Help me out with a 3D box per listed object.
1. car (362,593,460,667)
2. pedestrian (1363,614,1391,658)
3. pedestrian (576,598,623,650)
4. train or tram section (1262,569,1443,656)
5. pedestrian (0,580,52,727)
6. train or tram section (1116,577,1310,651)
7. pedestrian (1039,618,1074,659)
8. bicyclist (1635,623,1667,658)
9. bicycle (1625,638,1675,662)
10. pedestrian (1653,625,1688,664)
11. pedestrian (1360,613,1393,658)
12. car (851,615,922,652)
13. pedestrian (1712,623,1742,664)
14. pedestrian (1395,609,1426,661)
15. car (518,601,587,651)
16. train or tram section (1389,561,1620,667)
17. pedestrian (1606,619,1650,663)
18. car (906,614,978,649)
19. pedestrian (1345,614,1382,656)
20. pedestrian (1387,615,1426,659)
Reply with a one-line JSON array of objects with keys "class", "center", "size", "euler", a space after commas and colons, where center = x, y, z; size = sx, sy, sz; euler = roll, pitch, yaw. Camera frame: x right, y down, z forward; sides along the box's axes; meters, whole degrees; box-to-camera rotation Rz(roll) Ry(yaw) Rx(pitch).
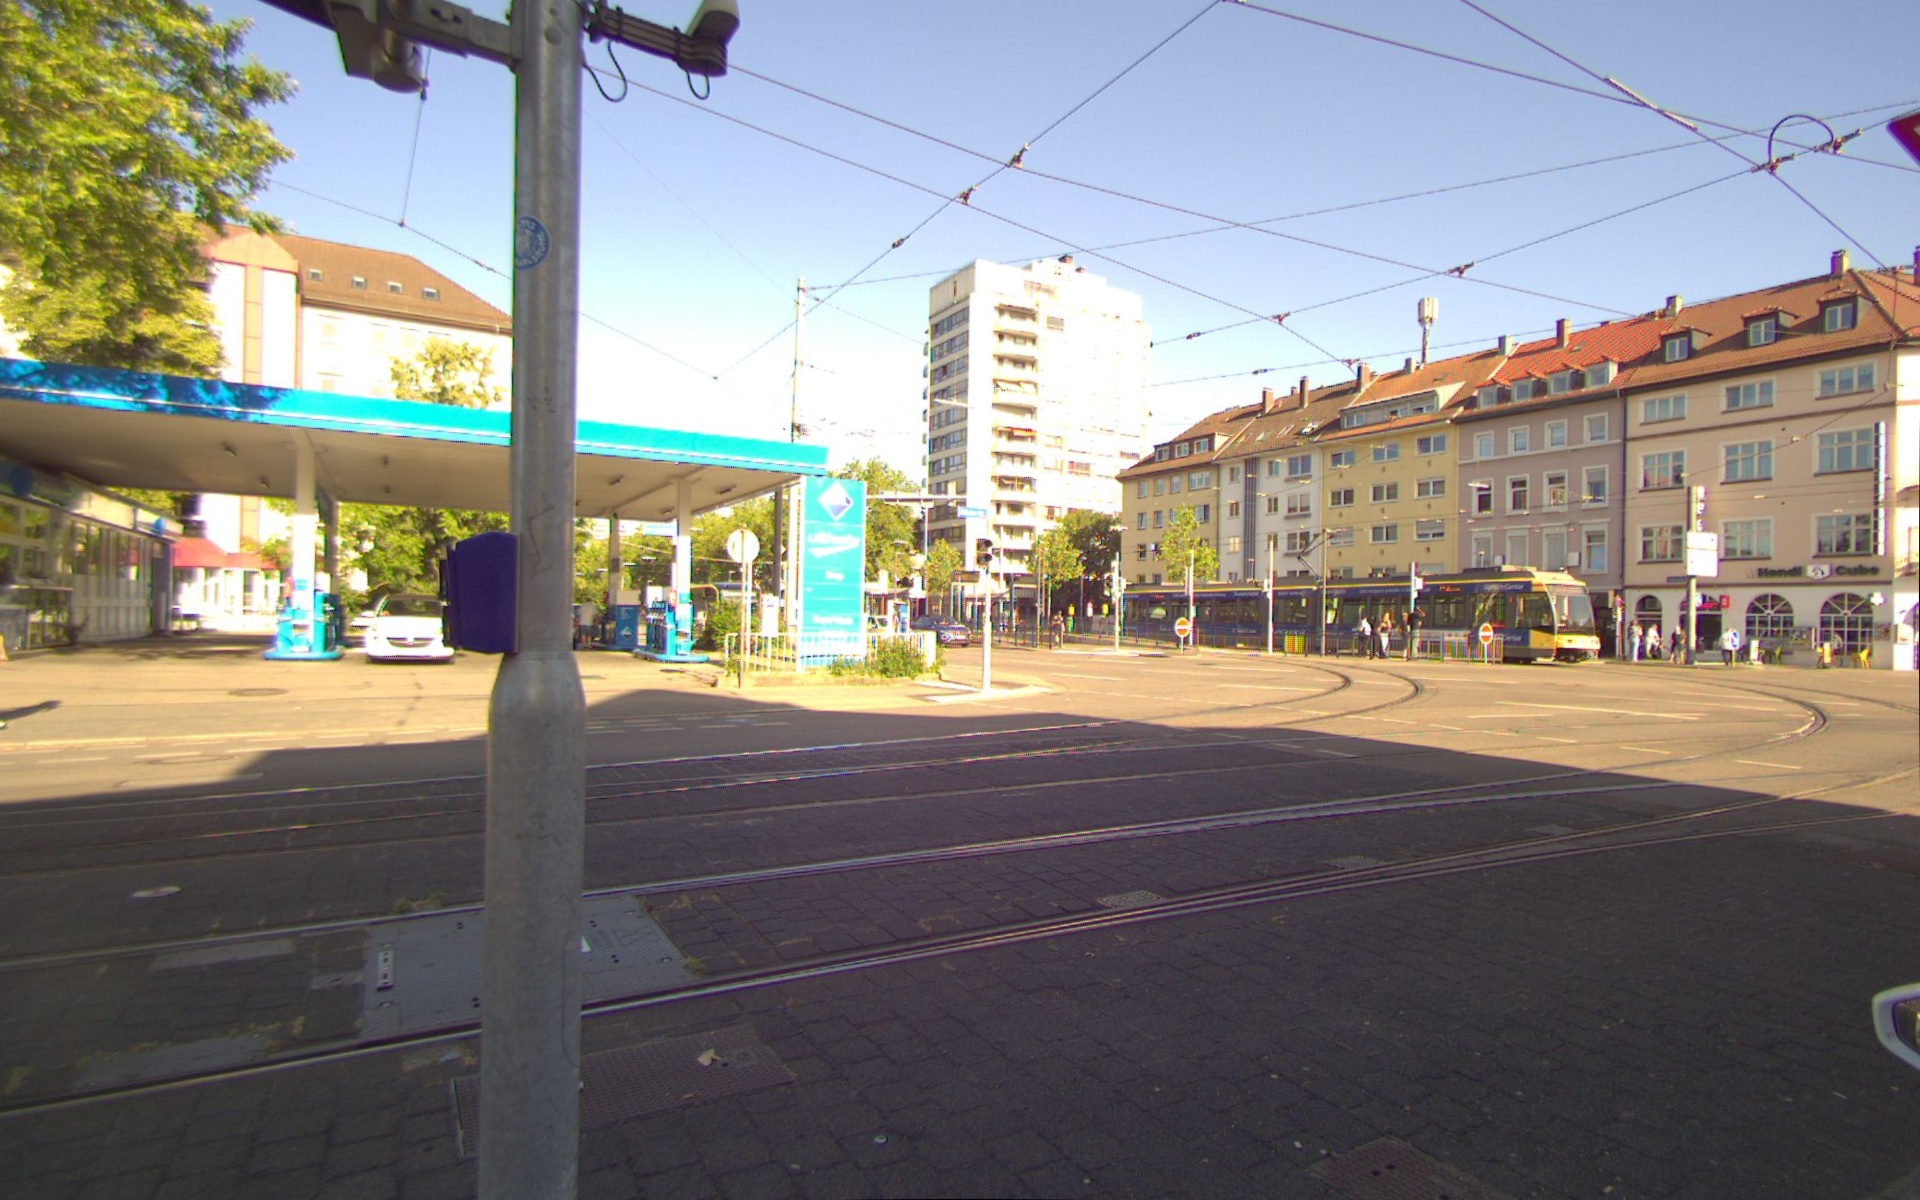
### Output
[{"class": "car", "center": [-12.322, 0.644, 22.512], "size": [1.760, 1.483, 3.968], "euler": [1, -1, -30]}, {"class": "pedestrian", "center": [15.632, 1.339, 37.675], "size": [0.923, 1.619, 1.009], "euler": [1, -1, 20]}, {"class": "pedestrian", "center": [-11.605, 0.760, 32.341], "size": [1.140, 1.647, 0.813], "euler": [1, -1, 7]}, {"class": "train or tram section", "center": [17.457, 0.591, 45.472], "size": [2.781, 3.546, 8.424], "euler": [1, -1, -20]}, {"class": "pedestrian", "center": [-11.036, 0.591, 11.240], "size": [0.701, 1.641, 1.107], "euler": [1, -1, 3]}, {"class": "train or tram section", "center": [13.248, 0.746, 54.392], "size": [2.746, 3.546, 11.936], "euler": [1, -1, -29]}, {"class": "pedestrian", "center": [4.422, 1.750, 45.958], "size": [1.156, 1.870, 1.098], "euler": [2, -1, -28]}, {"class": "bicyclist", "center": [35.950, 2.081, 52.289], "size": [0.740, 1.798, 1.159], "euler": [1, -1, -31]}, {"class": "bicycle", "center": [35.910, 2.602, 52.294], "size": [0.623, 1.197, 2.081], "euler": [1, -1, -29]}, {"class": "pedestrian", "center": [34.079, 2.126, 48.209], "size": [0.926, 1.798, 1.006], "euler": [1, -1, -15]}, {"class": "pedestrian", "center": [15.301, 1.291, 36.864], "size": [0.926, 1.619, 1.006], "euler": [0, -1, 34]}, {"class": "car", "center": [-3.469, 1.530, 46.739], "size": [1.863, 1.601, 3.971], "euler": [1, -1, -28]}, {"class": "pedestrian", "center": [34.937, 1.974, 45.760], "size": [0.991, 1.798, 0.939], "euler": [0, -1, 30]}, {"class": "pedestrian", "center": [16.093, 1.240, 35.893], "size": [0.923, 1.798, 1.009], "euler": [1, -1, 20]}, {"class": "car", "center": [-13.442, 0.840, 33.017], "size": [1.725, 1.431, 4.061], "euler": [5, -2, -26]}, {"class": "train or tram section", "center": [20.115, 0.546, 37.820], "size": [2.779, 3.546, 7.931], "euler": [1, -1, -18]}, {"class": "pedestrian", "center": [26.655, 1.613, 40.074], "size": [1.091, 1.707, 1.075], "euler": [1, -1, -30]}, {"class": "car", "center": [-0.918, 1.493, 48.280], "size": [1.863, 1.601, 3.971], "euler": [1, -1, -28]}, {"class": "pedestrian", "center": [15.755, 1.353, 39.255], "size": [0.925, 1.619, 1.007], "euler": [1, -1, -13]}, {"class": "pedestrian", "center": [16.616, 1.369, 37.363], "size": [0.924, 1.619, 1.008], "euler": [1, -1, -9]}]
